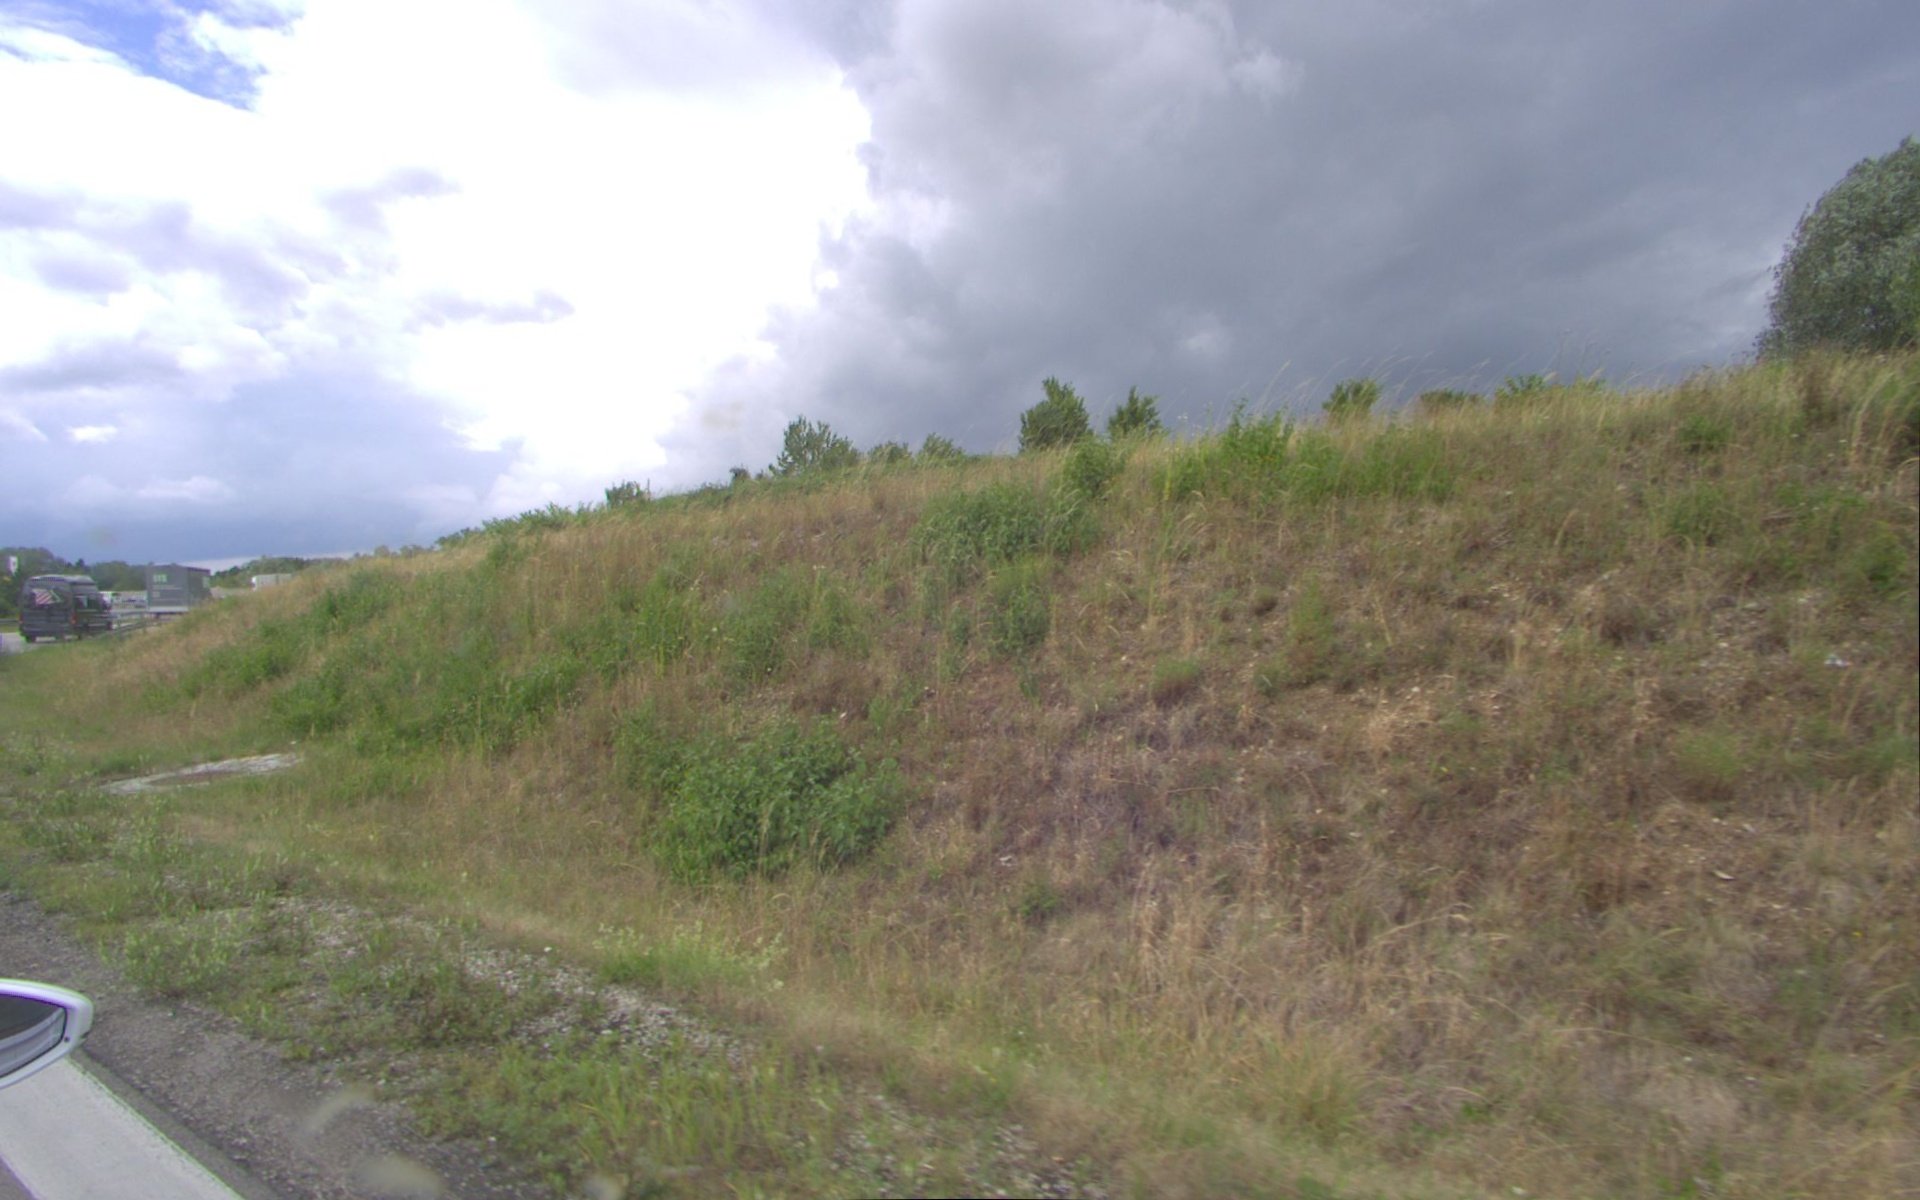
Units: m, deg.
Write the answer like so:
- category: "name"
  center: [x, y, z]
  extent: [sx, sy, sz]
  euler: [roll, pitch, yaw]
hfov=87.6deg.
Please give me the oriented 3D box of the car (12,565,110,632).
- category: "car"
  center: [-39.859, -0.001, 44.522]
  extent: [2.078, 2.832, 3.987]
  euler: [1, -2, -24]

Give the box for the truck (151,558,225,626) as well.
- category: "truck"
  center: [-49.086, -0.399, 63.835]
  extent: [2.199, 3.955, 6.001]
  euler: [0, -3, -22]

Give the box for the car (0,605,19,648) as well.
- category: "car"
  center: [-34.838, 0.951, 35.034]
  extent: [1.845, 1.529, 3.982]
  euler: [0, -2, -29]
